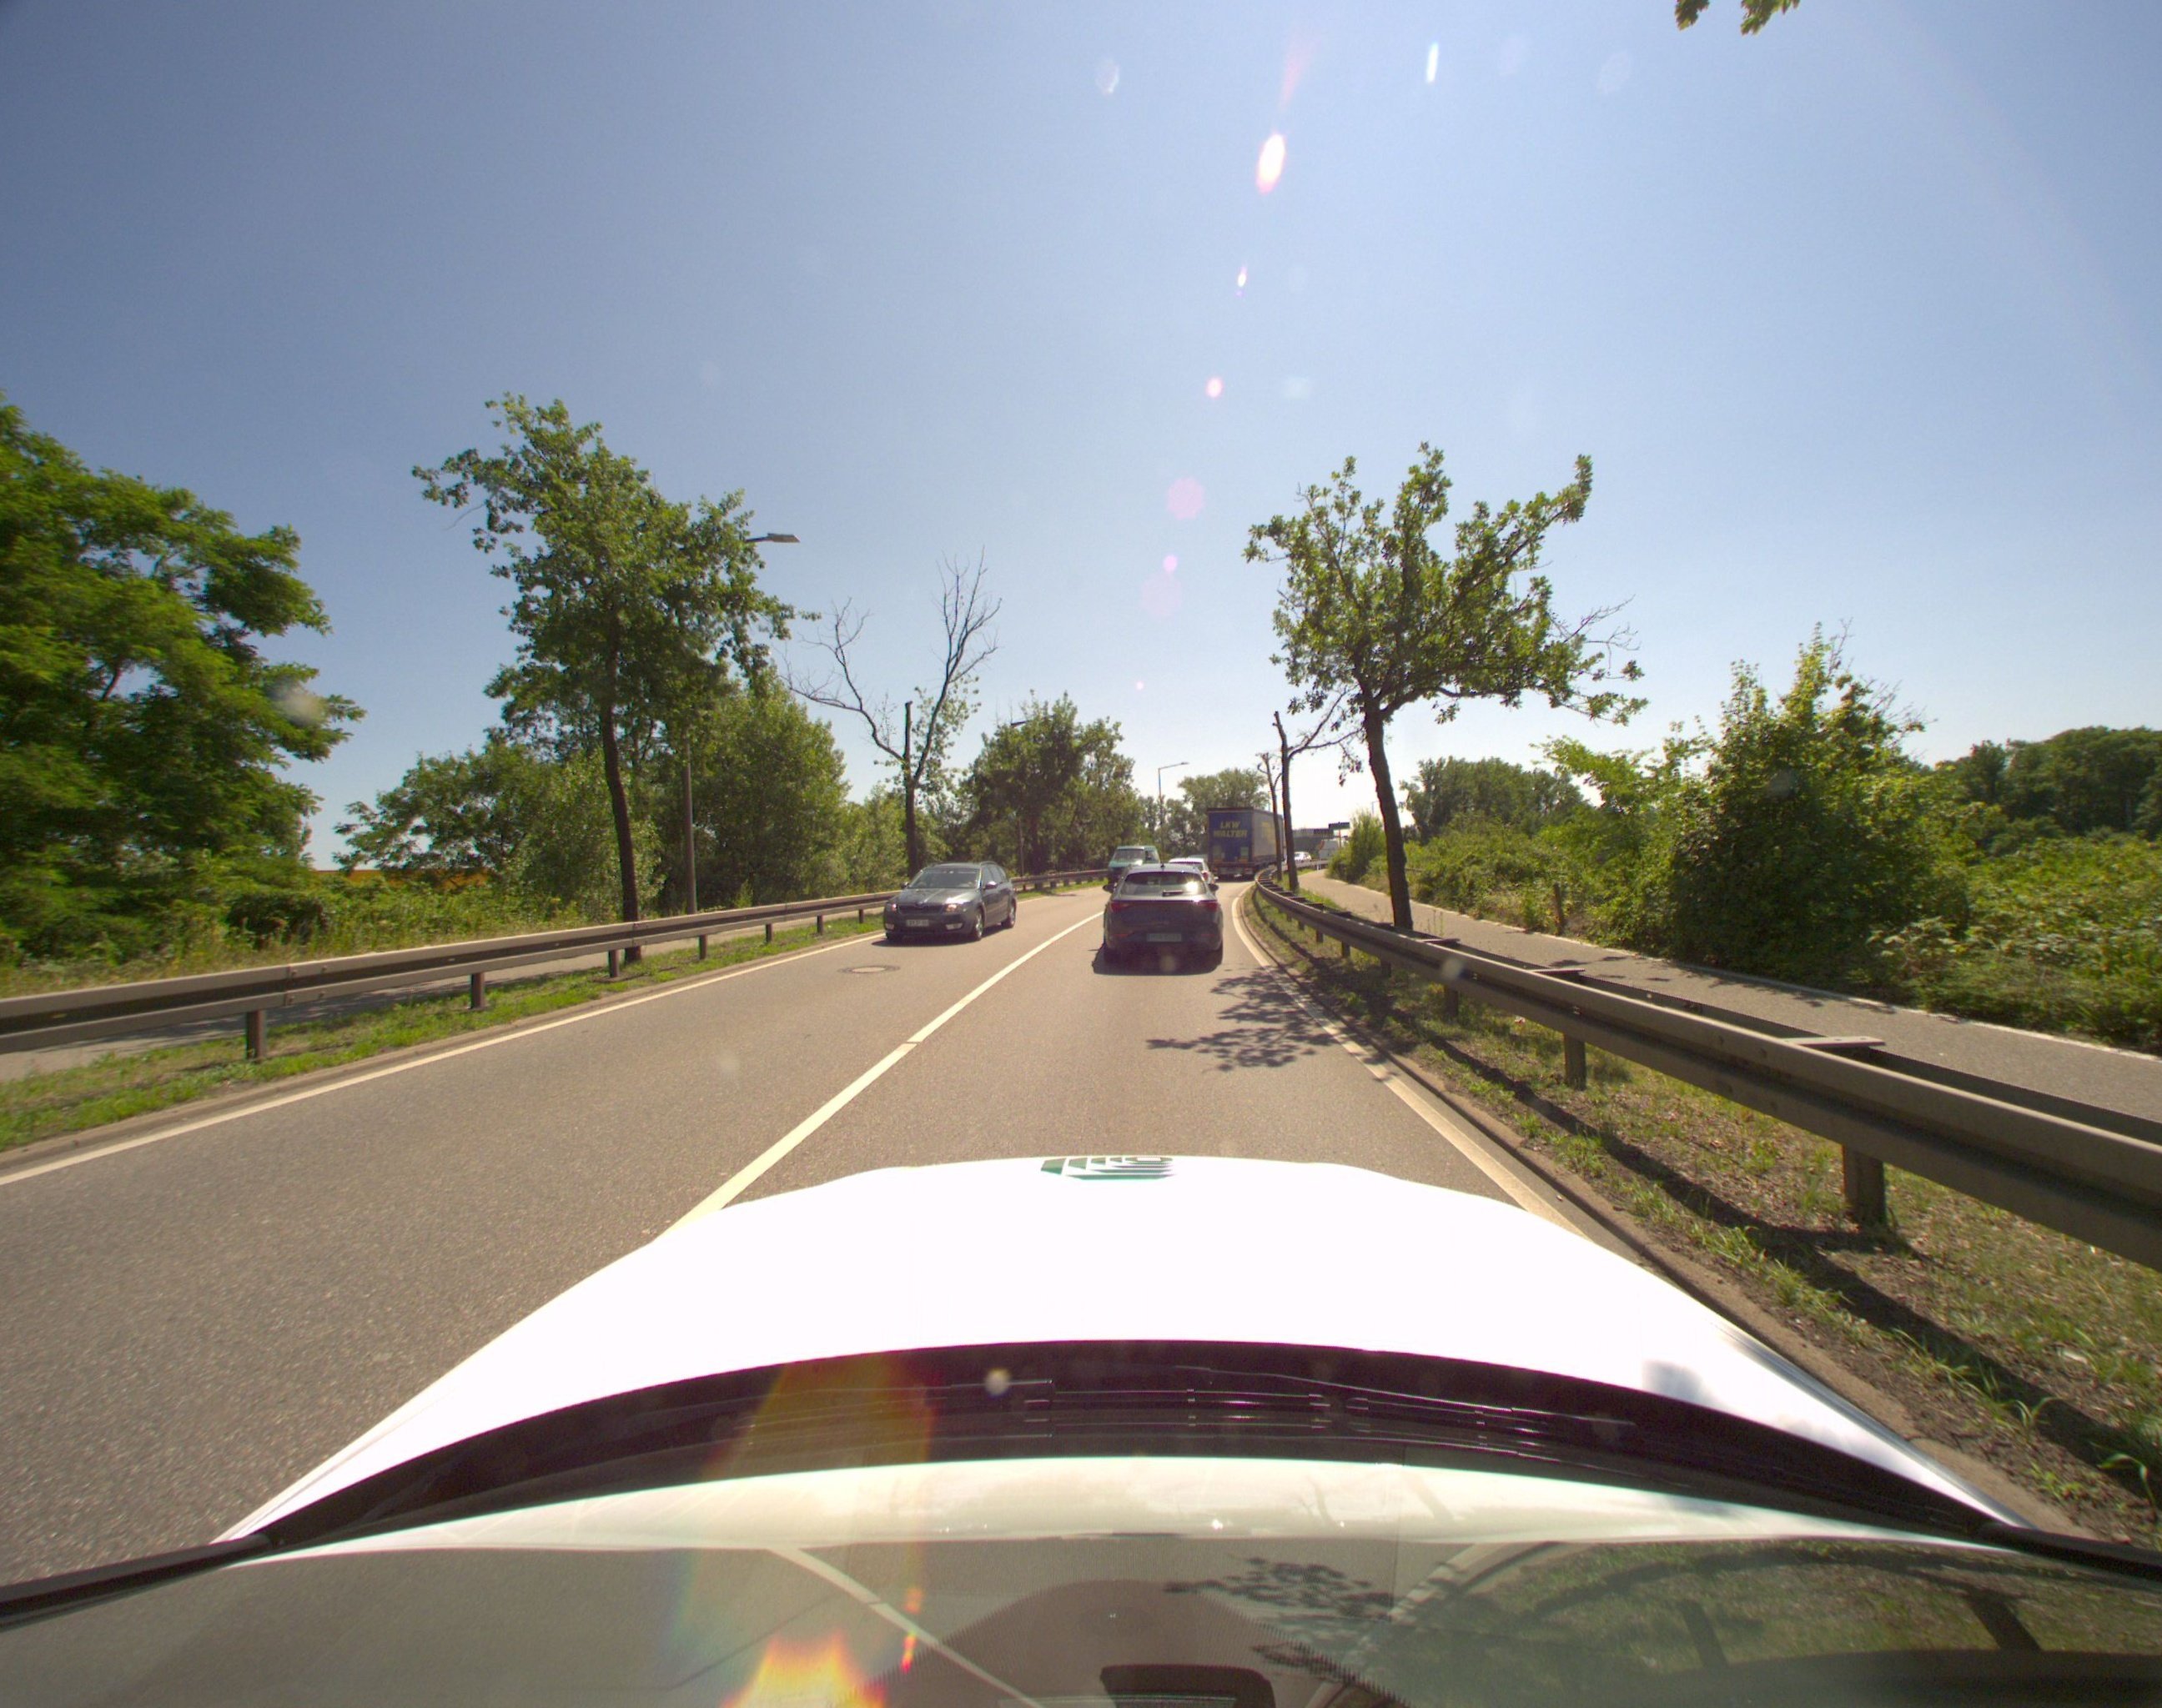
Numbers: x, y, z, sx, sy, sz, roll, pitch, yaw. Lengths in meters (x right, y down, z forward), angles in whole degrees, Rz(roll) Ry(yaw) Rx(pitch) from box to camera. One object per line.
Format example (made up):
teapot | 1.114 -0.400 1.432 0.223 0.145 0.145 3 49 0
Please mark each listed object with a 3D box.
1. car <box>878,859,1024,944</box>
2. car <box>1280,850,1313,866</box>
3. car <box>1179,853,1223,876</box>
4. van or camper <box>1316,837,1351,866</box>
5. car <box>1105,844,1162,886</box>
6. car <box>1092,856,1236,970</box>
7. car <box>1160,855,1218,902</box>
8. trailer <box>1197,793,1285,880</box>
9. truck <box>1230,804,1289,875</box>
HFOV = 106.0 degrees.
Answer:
car | -2.454 0.847 16.547 1.735 1.447 4.525 -1 0 7
car | 21.417 0.359 80.824 1.995 1.543 3.784 -1 0 33
car | 7.918 0.664 53.336 1.830 1.467 4.766 -1 0 22
van or camper | 24.191 -0.247 77.925 2.182 2.711 5.961 -2 0 27
car | 2.680 0.531 40.465 1.816 1.938 4.795 -1 0 15
car | 1.147 0.799 12.846 1.840 1.499 3.757 -1 0 -1
car | 3.712 0.768 27.477 1.582 1.461 3.558 0 0 13
trailer | 10.104 -0.923 49.962 3.107 4.614 13.014 0 0 21
truck | 12.573 -0.898 56.783 3.144 4.585 7.431 -1 -1 19
